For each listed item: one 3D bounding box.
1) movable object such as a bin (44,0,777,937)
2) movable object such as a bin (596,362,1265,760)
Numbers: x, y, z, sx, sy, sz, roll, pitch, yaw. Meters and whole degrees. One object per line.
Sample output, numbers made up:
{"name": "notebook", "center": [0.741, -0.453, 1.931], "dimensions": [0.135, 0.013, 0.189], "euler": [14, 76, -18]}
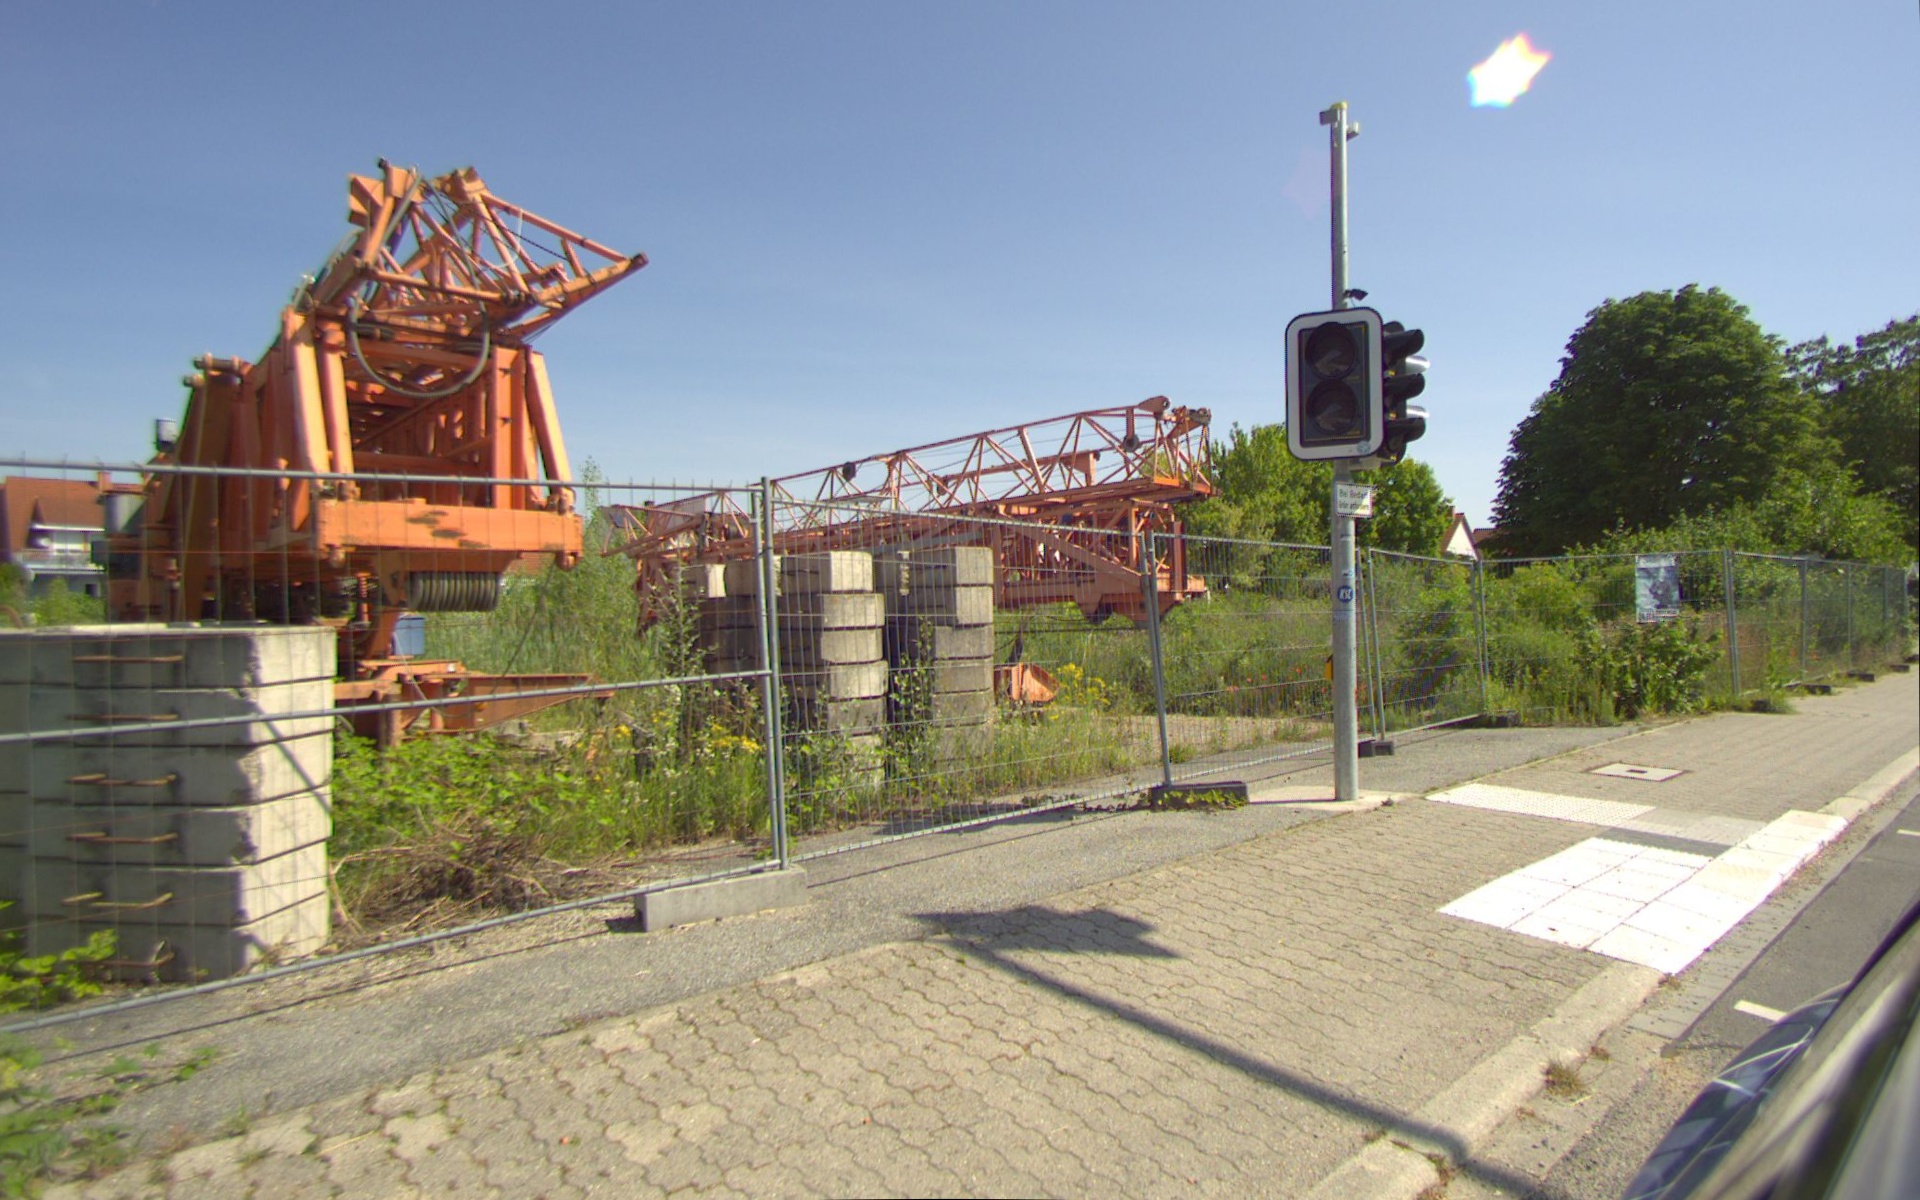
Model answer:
{"name": "movable object such as a bin", "center": [-7.549, -0.775, 10.664], "dimensions": [2.727, 4.069, 16.064], "euler": [0, 0, -44]}
{"name": "movable object such as a bin", "center": [-1.746, -0.438, 16.500], "dimensions": [2.815, 4.218, 13.264], "euler": [0, 0, -44]}
